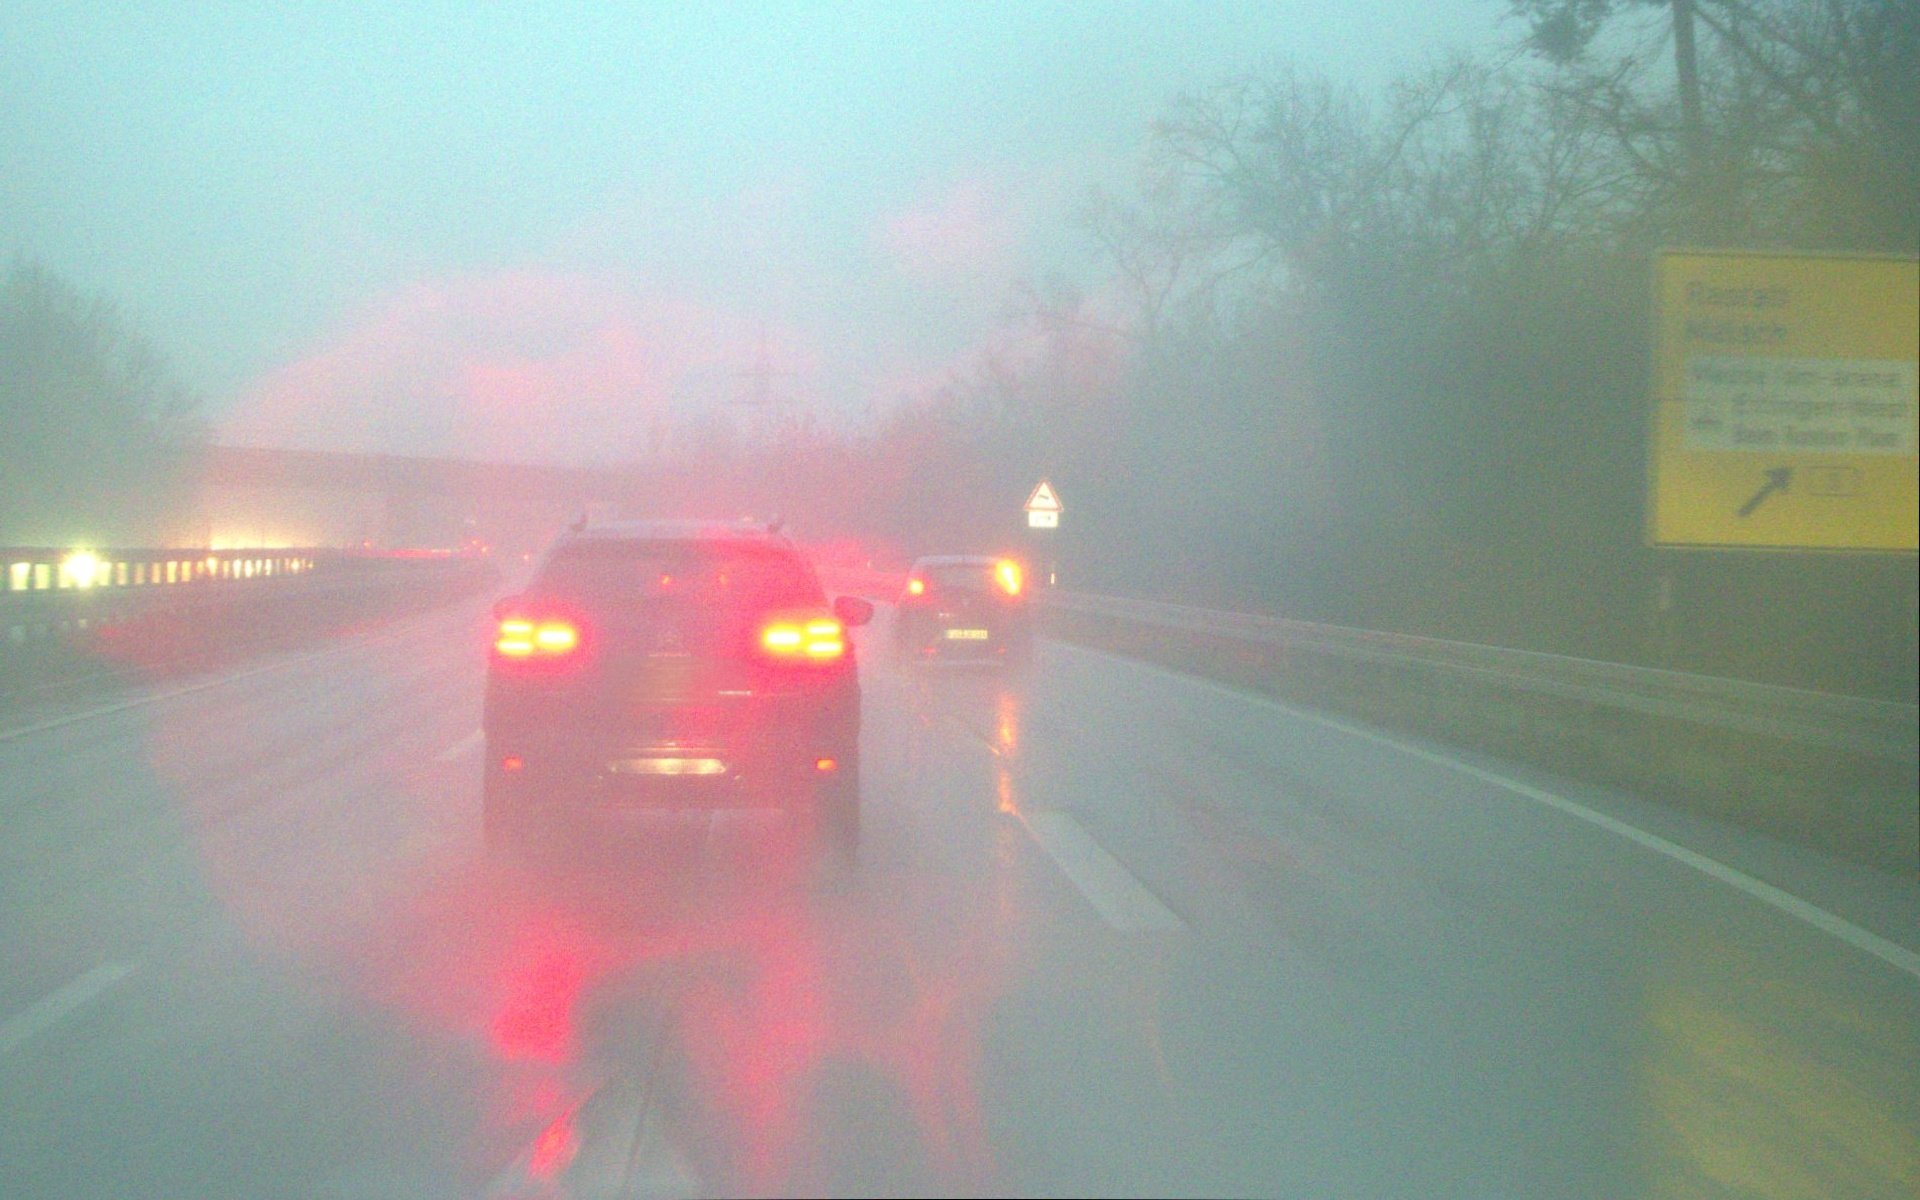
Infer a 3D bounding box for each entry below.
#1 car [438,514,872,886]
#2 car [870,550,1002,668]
[{"bbox_3d":[-1.504,0.441,17.856,1.992,1.709,3.830,1,1,-3],"label":"car"},{"bbox_3d":[-0.304,0.085,43.205,1.569,1.403,3.646,1,1,-1],"label":"car"}]
